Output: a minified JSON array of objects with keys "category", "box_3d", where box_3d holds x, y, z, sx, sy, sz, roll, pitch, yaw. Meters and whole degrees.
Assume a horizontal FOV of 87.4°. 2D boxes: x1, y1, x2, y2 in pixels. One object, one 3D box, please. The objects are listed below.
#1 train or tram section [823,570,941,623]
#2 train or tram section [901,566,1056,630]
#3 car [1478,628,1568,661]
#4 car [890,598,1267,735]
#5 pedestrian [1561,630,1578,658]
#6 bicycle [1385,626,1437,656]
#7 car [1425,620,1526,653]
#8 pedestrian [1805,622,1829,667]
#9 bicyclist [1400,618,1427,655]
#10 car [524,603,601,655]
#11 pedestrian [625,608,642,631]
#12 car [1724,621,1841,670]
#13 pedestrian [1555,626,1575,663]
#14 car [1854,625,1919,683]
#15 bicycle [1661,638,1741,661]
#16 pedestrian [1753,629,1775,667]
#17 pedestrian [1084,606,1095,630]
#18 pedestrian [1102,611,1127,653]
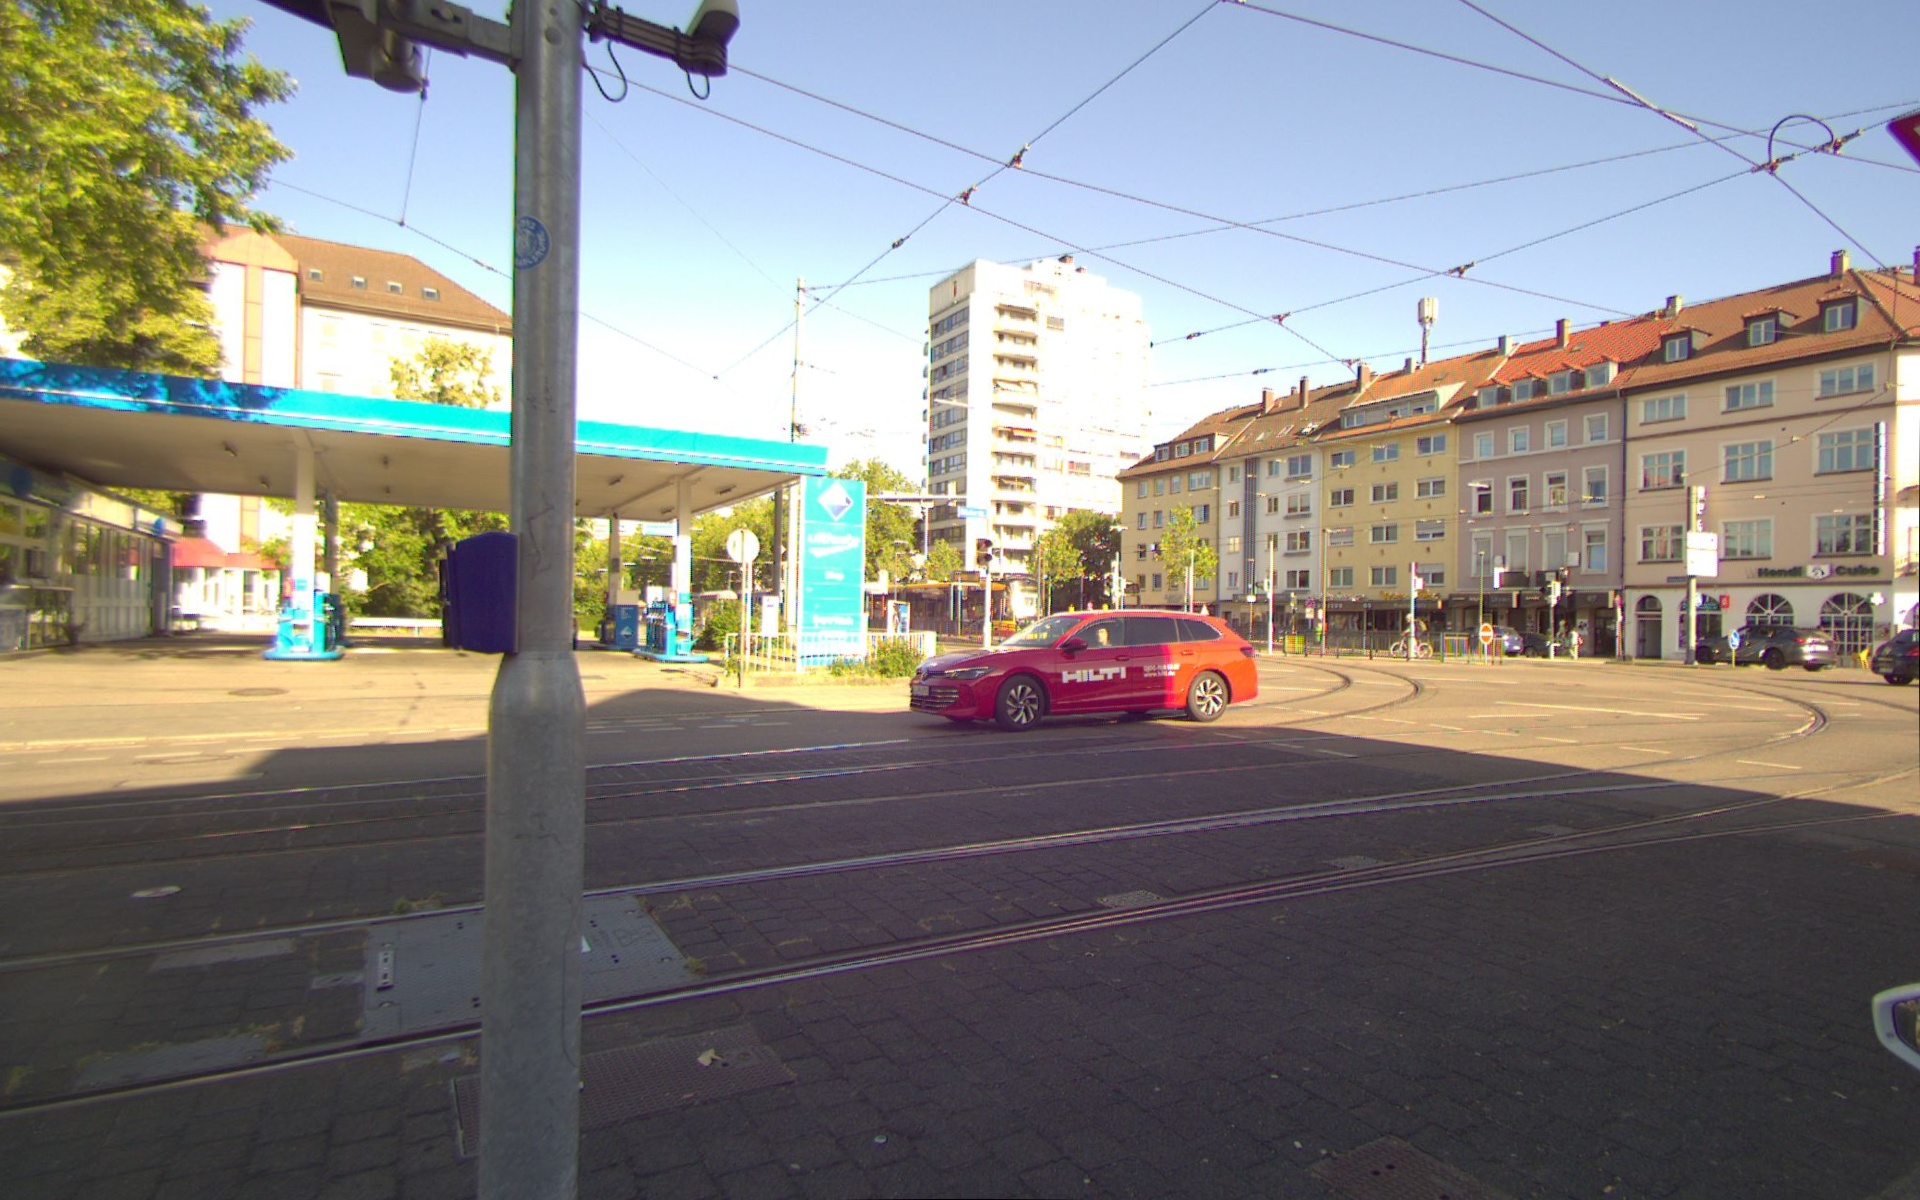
[{"category":"train or tram section","box_3d":[-5.533,-0.280,68.103,2.751,3.273,12.286,2,0,-31]},{"category":"train or tram section","box_3d":[0.721,-0.156,57.605,2.751,3.273,12.286,2,0,-31]},{"category":"car","box_3d":[30.859,2.414,55.142,1.970,1.692,3.981,1,-1,-21]},{"category":"car","box_3d":[1.609,0.841,13.263,4.702,1.542,1.901,2,-2,-27]},{"category":"pedestrian","box_3d":[33.054,2.391,54.450,0.460,1.496,0.629,2,0,-33]},{"category":"bicycle","box_3d":[17.455,1.566,38.891,1.759,1.084,0.575,2,0,1]},{"category":"car","box_3d":[25.274,1.778,49.329,1.980,1.394,3.961,2,0,-35]},{"category":"pedestrian","box_3d":[36.875,1.913,43.232,0.460,1.906,0.629,2,0,-33]},{"category":"bicyclist","box_3d":[17.557,1.417,38.887,0.787,1.384,0.560,2,0,2]},{"category":"car","box_3d":[-11.941,0.835,30.079,1.764,1.411,3.455,2,0,-28]},{"category":"pedestrian","box_3d":[-21.938,1.318,67.447,0.695,1.532,0.818,0,-1,45]},{"category":"car","box_3d":[30.767,1.670,37.740,1.914,1.639,4.180,2,0,17]},{"category":"pedestrian","box_3d":[27.248,1.983,45.233,0.461,1.633,0.628,2,0,-36]},{"category":"car","box_3d":[24.707,1.368,24.603,3.778,1.380,1.760,2,0,17]},{"category":"bicycle","box_3d":[37.503,2.489,50.897,0.989,0.993,3.115,2,0,-29]},{"category":"pedestrian","box_3d":[35.849,2.132,44.764,0.460,1.633,0.629,2,0,-33]},{"category":"pedestrian","box_3d":[9.049,1.241,70.114,0.570,1.649,0.522,2,0,-31]},{"category":"pedestrian","box_3d":[6.255,1.301,40.608,0.675,1.656,0.694,2,0,-35]}]
